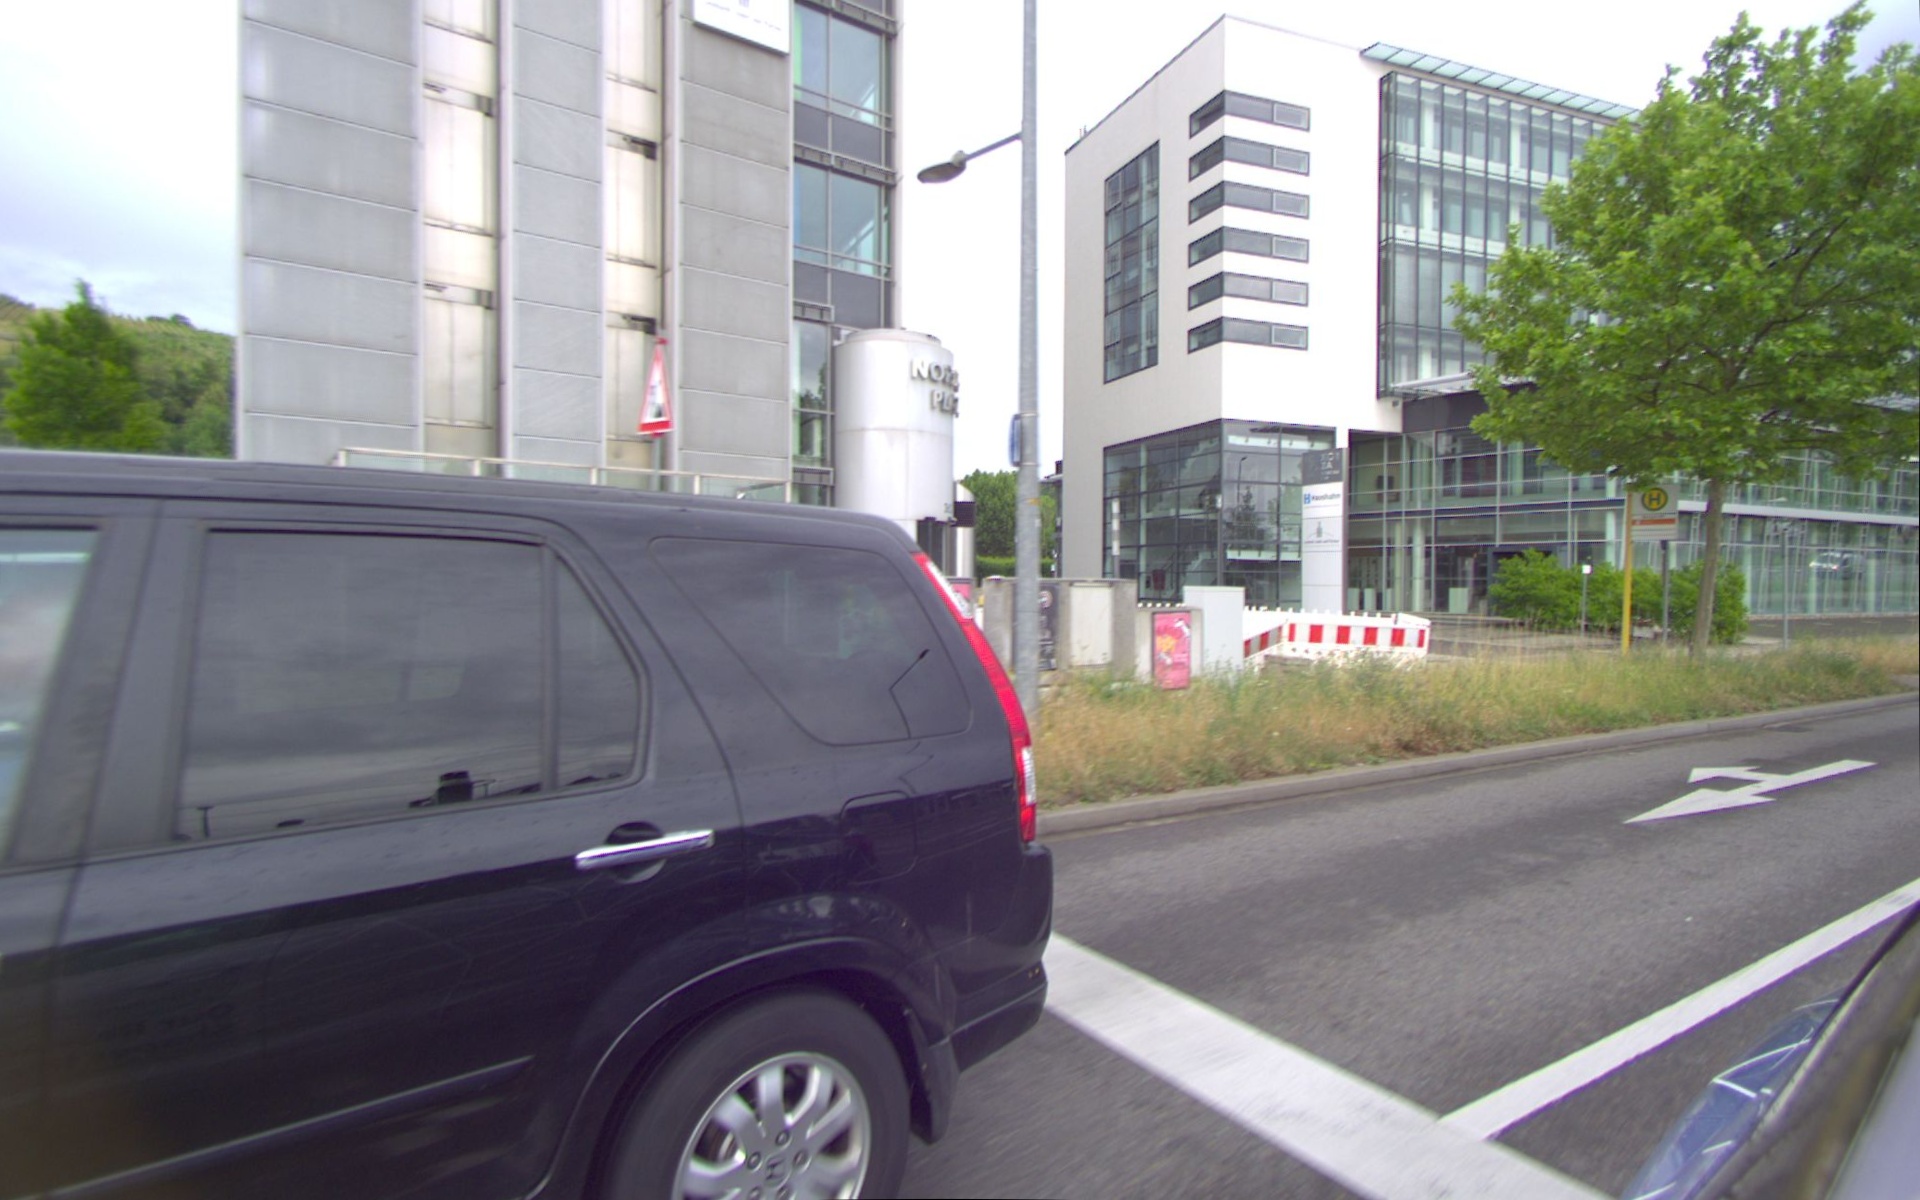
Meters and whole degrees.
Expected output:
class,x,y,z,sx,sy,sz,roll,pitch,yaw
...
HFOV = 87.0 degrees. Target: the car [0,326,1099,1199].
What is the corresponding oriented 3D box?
class,x,y,z,sx,sy,sz,roll,pitch,yaw
car,-1.905,0.512,1.755,4.245,1.651,1.770,0,-1,-38
